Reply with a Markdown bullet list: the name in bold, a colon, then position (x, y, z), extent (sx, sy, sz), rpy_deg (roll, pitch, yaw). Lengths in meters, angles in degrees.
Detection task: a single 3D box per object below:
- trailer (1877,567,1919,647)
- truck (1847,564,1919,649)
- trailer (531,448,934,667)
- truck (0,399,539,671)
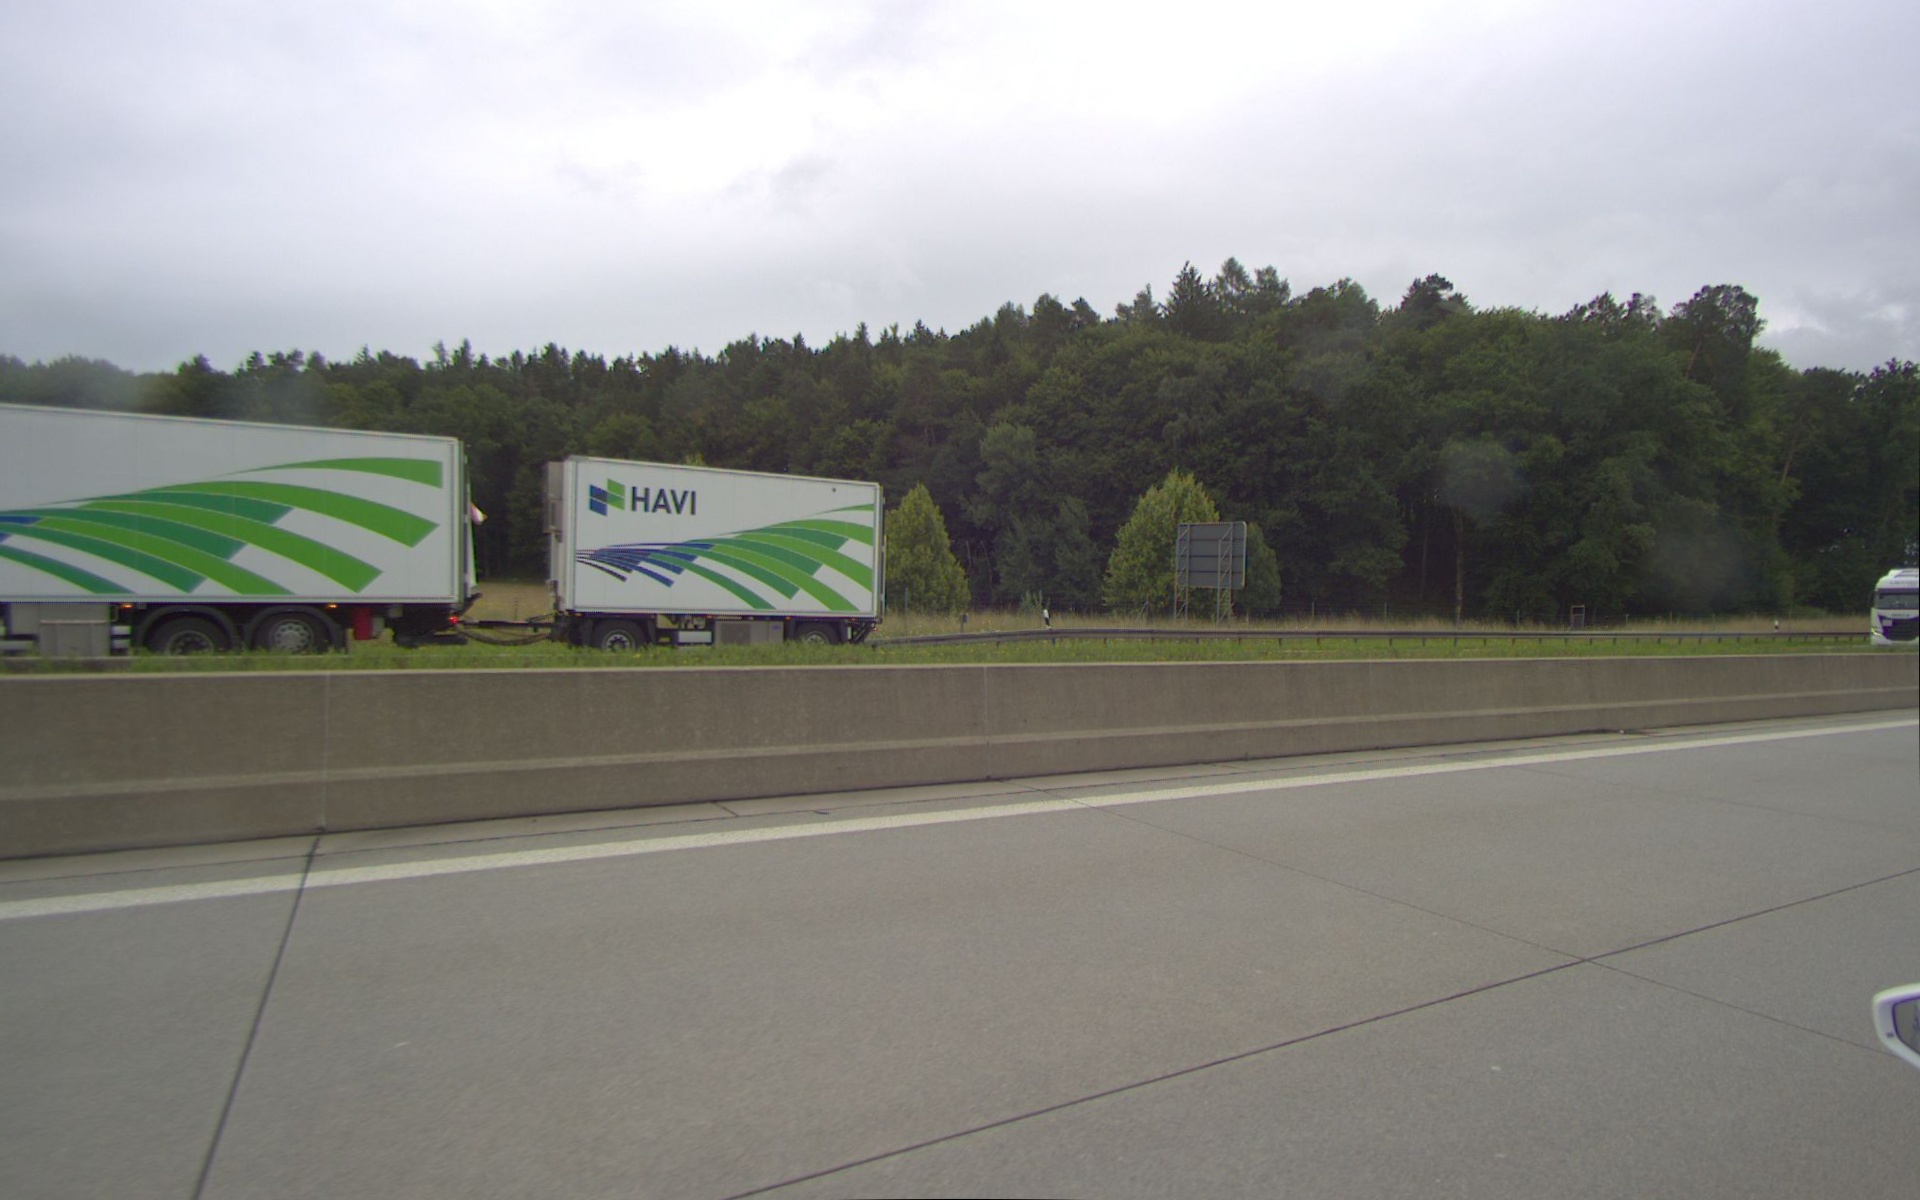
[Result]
- **trailer**: position (55.414, 0.432, 55.313), extent (13.964, 4.107, 3.219), rpy_deg (1, 1, -30)
- **truck**: position (49.017, 0.339, 51.518), extent (7.081, 4.111, 3.197), rpy_deg (1, 1, -30)
- **trailer**: position (-4.560, -0.710, 20.716), extent (7.622, 3.833, 2.806), rpy_deg (1, 1, -29)
- **truck**: position (-12.927, -0.898, 16.005), extent (11.212, 3.823, 2.800), rpy_deg (1, 0, -29)
